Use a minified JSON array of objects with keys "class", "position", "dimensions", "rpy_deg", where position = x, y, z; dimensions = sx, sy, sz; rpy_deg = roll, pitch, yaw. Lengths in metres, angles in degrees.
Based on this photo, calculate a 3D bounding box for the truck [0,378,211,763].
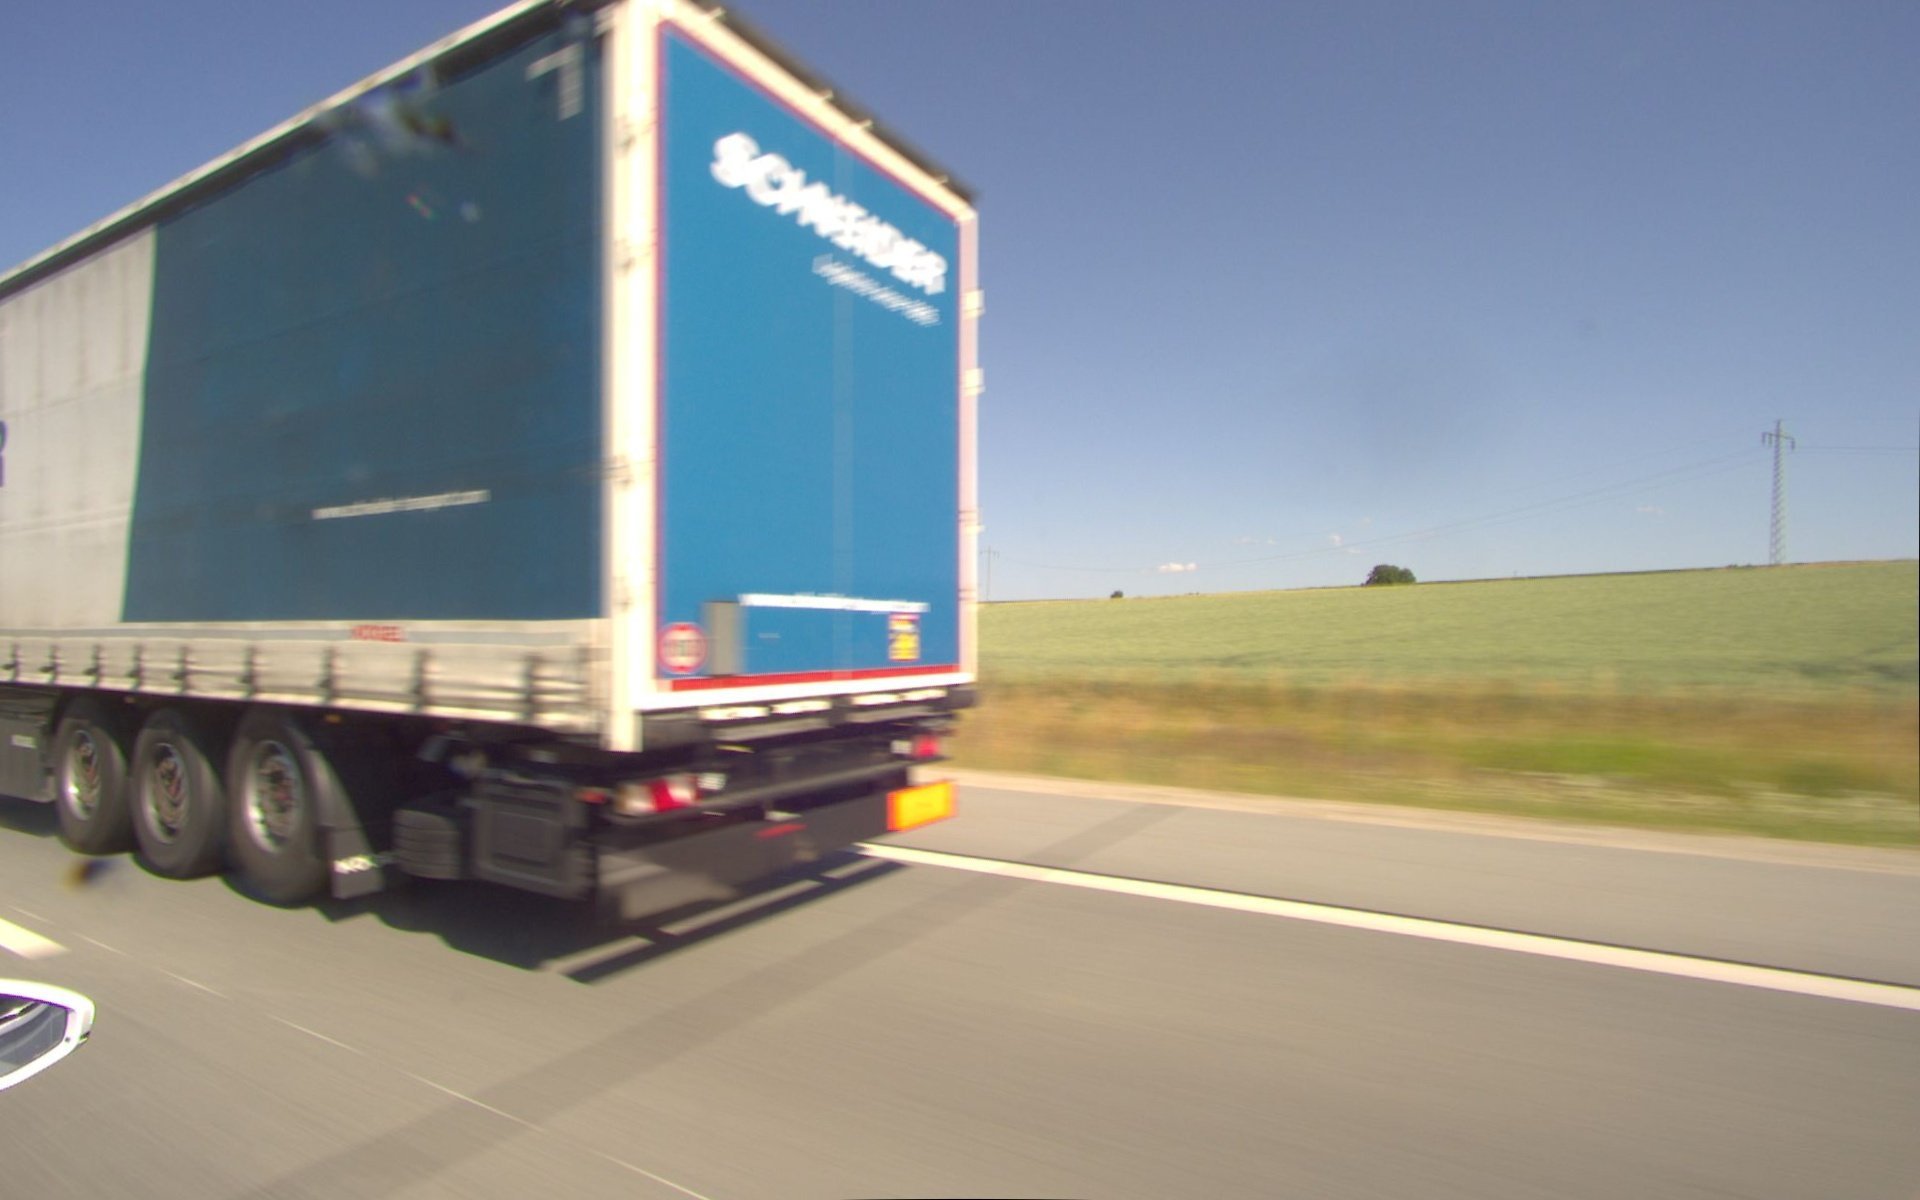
[{"class":"truck","position":[-12.558,-0.276,12.498],"dimensions":[6.099,4.067,3.077],"rpy_deg":[-1,0,31]}]

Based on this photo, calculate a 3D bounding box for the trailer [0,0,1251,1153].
[{"class":"trailer","position":[-5.669,-0.505,8.256],"dimensions":[15.237,4.351,3.170],"rpy_deg":[-1,0,32]}]
